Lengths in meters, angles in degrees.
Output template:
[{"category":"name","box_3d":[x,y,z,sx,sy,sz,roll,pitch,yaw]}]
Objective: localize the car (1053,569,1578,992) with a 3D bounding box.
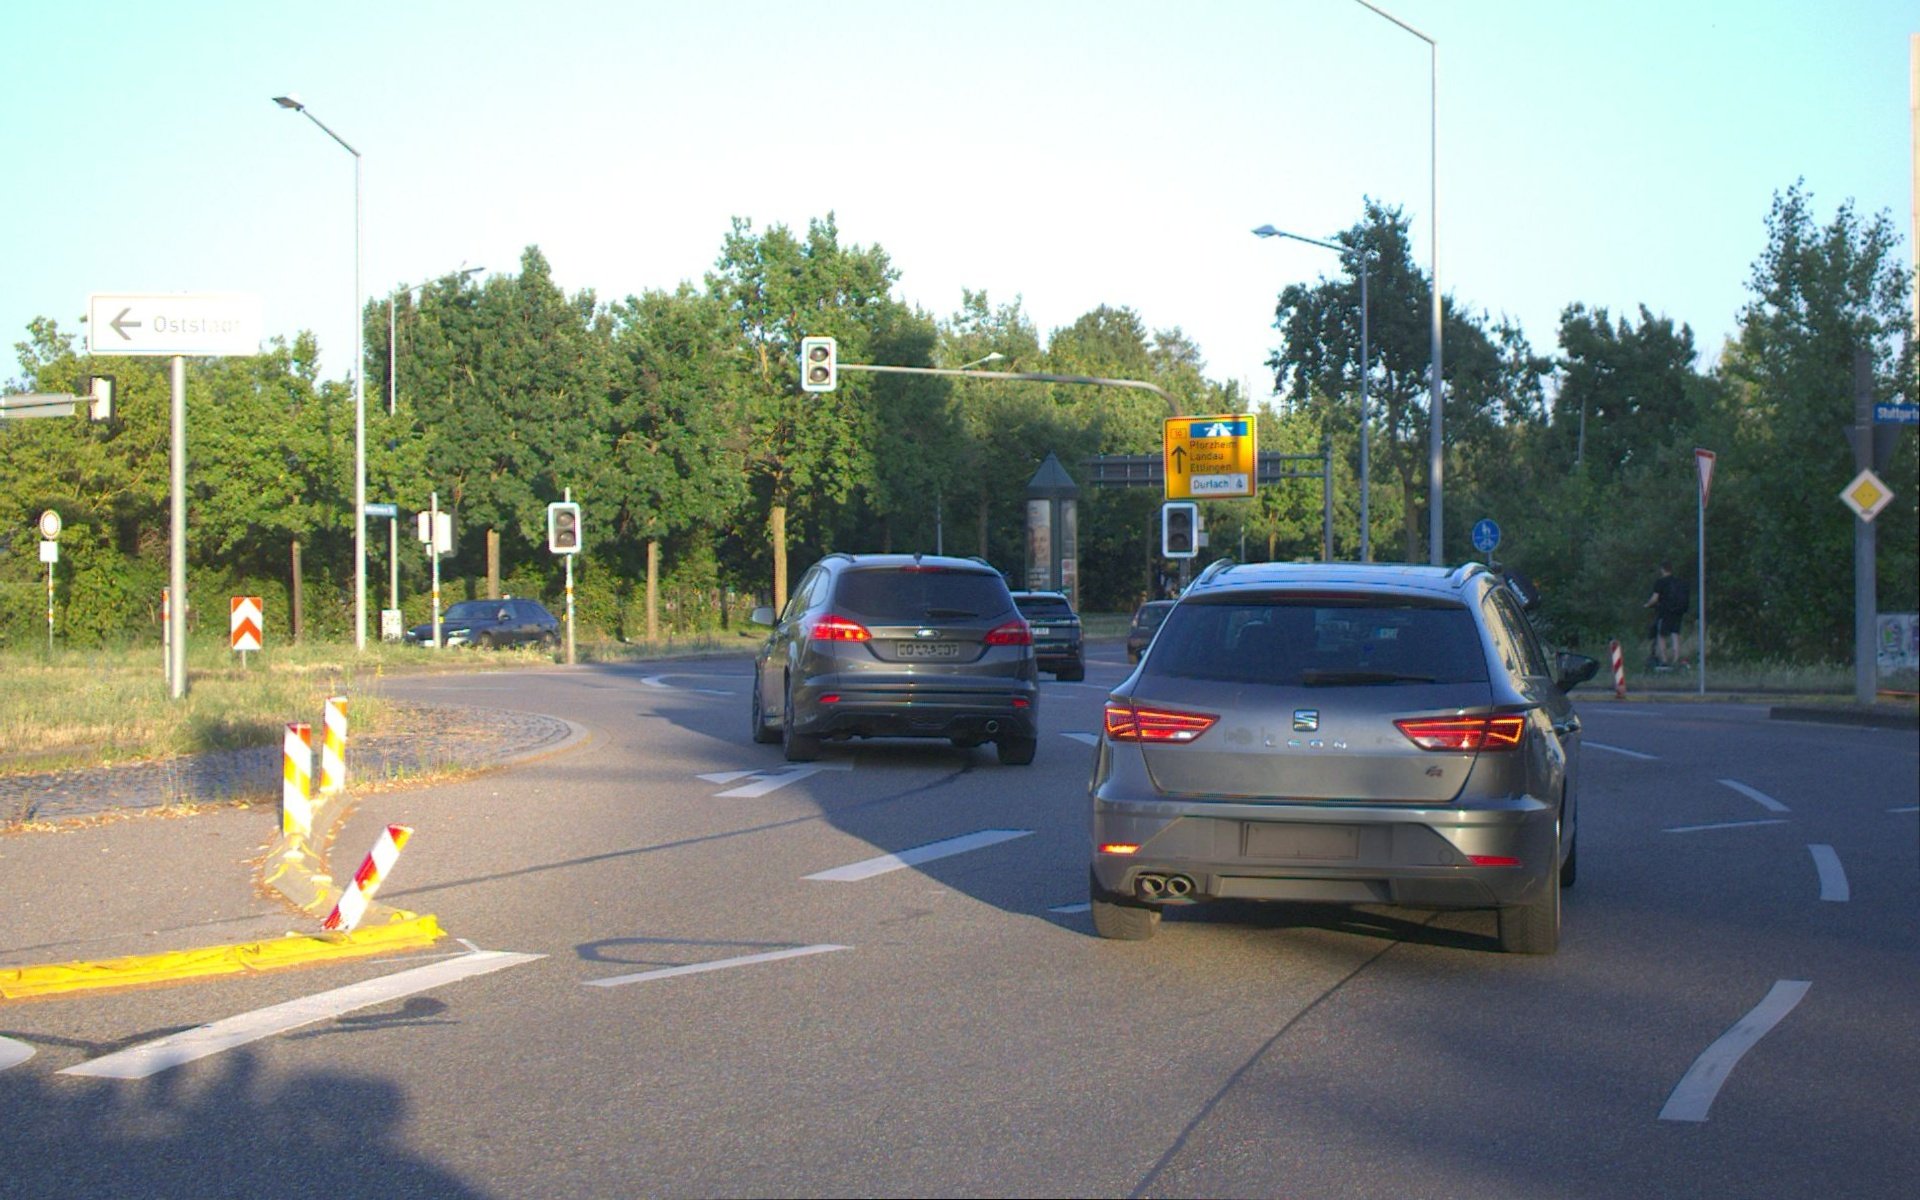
[{"category":"car","box_3d":[1.564,0.593,13.752,1.746,1.419,4.133,0,0,11]}]

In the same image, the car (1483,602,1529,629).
[{"category":"car","box_3d":[29.776,0.830,187.324,1.723,1.444,4.545,0,0,19]}]

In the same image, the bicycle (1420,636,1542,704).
[{"category":"bicycle","box_3d":[8.680,1.166,57.304,1.924,1.081,0.456,-2,-1,18]}]

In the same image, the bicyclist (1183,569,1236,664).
[{"category":"bicyclist","box_3d":[4.560,0.296,62.739,0.768,1.696,0.641,-3,-1,18]}]

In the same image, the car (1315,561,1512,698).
[{"category":"car","box_3d":[5.251,0.310,40.246,1.812,1.520,4.135,0,0,1]}]

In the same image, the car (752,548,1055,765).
[{"category":"car","box_3d":[-0.501,0.367,25.232,1.745,1.461,4.136,0,0,-8]}]

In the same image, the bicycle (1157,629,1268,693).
[{"category":"bicycle","box_3d":[4.600,1.106,62.711,1.924,1.081,0.456,-3,-1,18]}]

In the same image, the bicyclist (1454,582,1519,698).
[{"category":"bicyclist","box_3d":[8.767,0.669,57.249,0.908,1.891,0.641,-2,-1,18]}]

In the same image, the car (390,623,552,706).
[{"category":"car","box_3d":[-10.883,1.411,76.771,1.747,1.742,4.593,0,0,18]}]

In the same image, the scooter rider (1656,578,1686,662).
[{"category":"scooter rider","box_3d":[11.353,0.310,54.912,0.264,1.334,0.406,0,0,-27]}]

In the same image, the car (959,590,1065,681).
[{"category":"car","box_3d":[0.881,0.581,58.723,1.746,1.483,4.135,0,0,0]}]

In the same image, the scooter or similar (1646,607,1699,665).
[{"category":"scooter or similar","box_3d":[11.381,0.578,54.932,0.246,0.911,1.039,0,0,-27]}]
